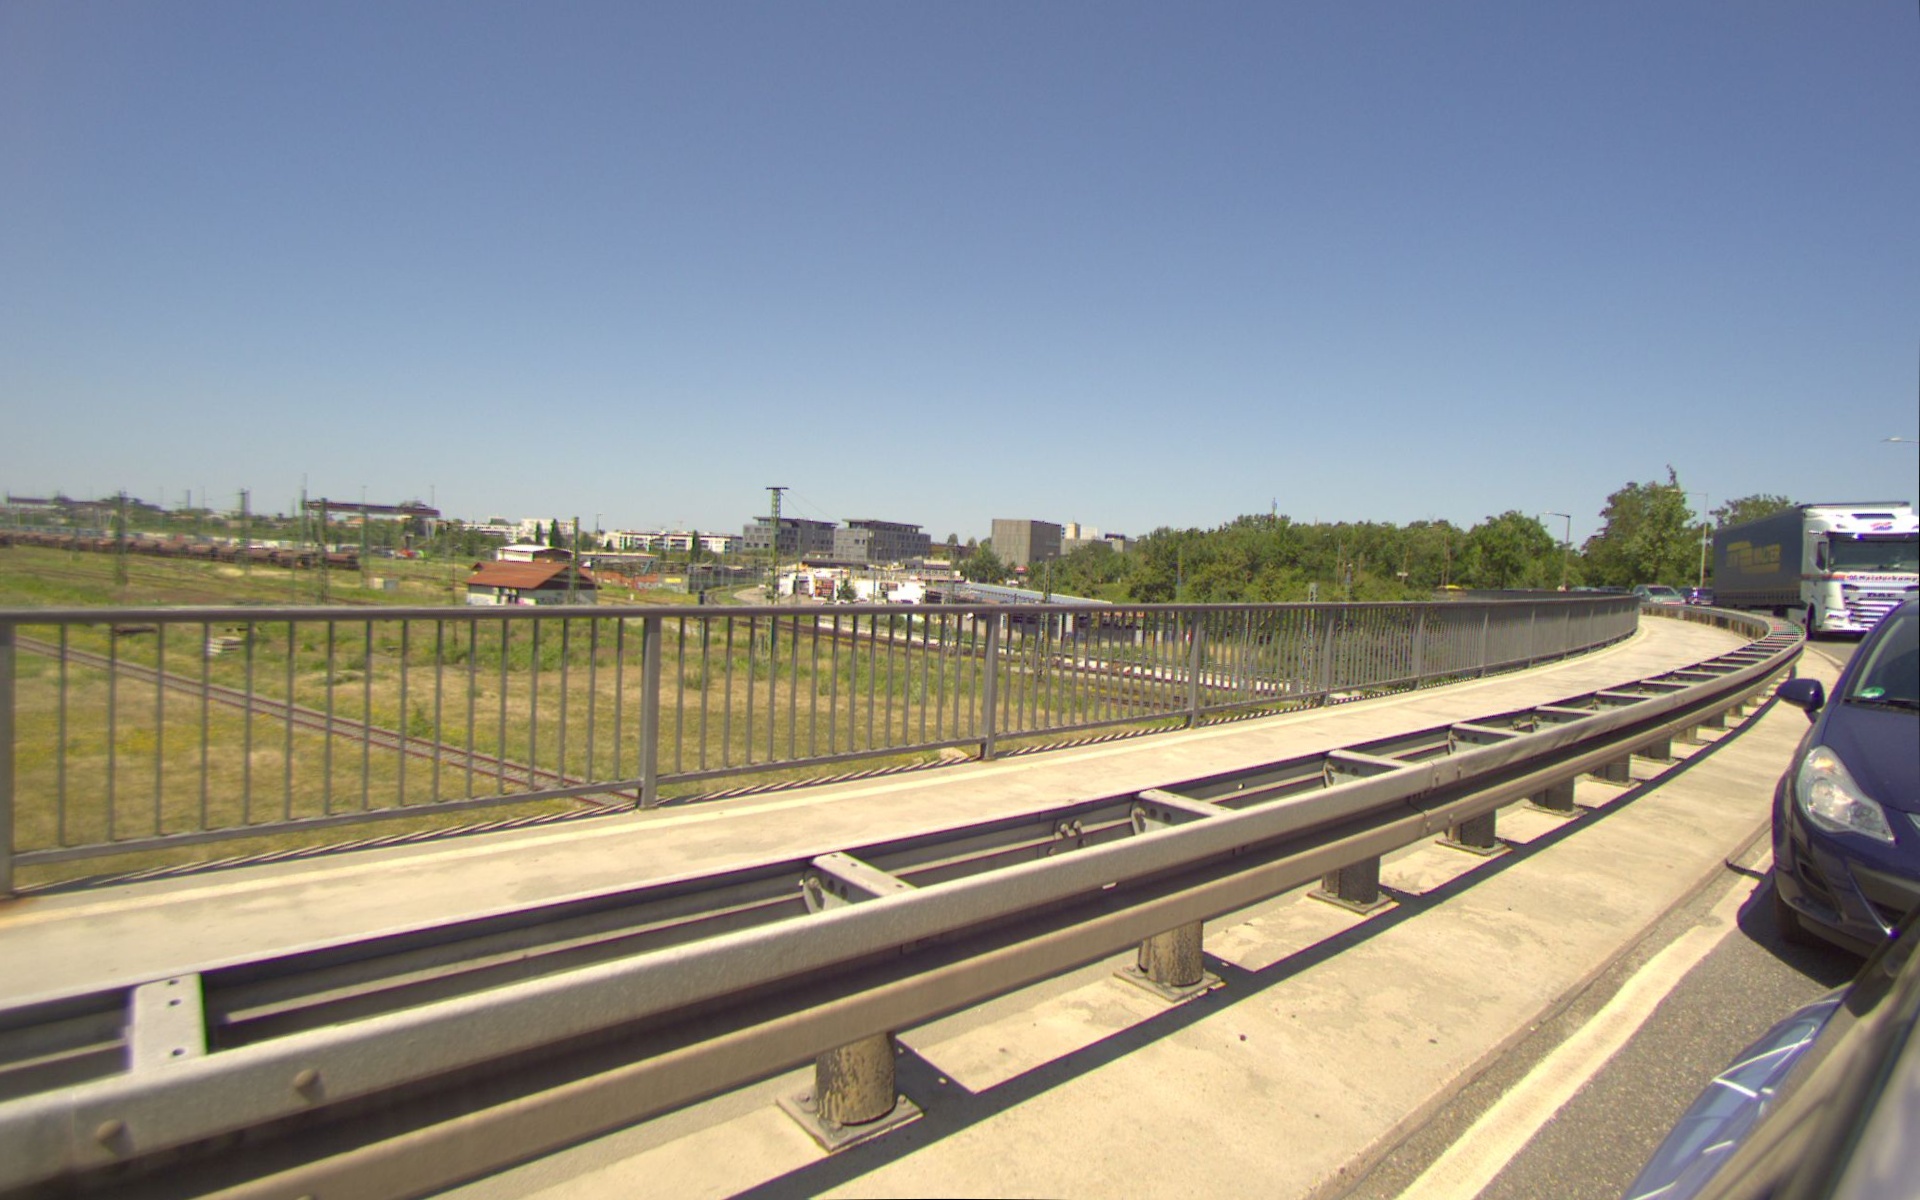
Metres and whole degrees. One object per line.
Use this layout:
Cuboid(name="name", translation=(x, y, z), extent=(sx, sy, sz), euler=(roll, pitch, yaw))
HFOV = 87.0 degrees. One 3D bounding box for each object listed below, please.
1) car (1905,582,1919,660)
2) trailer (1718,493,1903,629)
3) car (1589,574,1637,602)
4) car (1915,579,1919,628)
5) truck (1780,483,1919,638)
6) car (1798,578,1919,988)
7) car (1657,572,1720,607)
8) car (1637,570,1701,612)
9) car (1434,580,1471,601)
Cuboid(name="car", translation=(18.501, 0.399, 18.141), extent=(1.785, 1.473, 4.463), euler=(0, 0, 37))
Cuboid(name="trailer", translation=(31.435, -1.377, 38.085), extent=(2.677, 4.287, 12.592), euler=(0, 1, 28))
Cuboid(name="car", translation=(49.290, -0.872, 76.445), extent=(1.972, 2.039, 3.980), euler=(0, 0, 16))
Cuboid(name="car", translation=(33.147, 0.153, 33.055), extent=(1.958, 1.694, 4.560), euler=(2, 2, 32))
Cuboid(name="truck", translation=(27.713, -1.163, 31.121), extent=(2.673, 4.281, 6.771), euler=(0, 1, 29))
Cuboid(name="car", translation=(5.138, 0.638, 4.651), extent=(1.641, 1.457, 3.936), euler=(1, 1, 45))
Cuboid(name="car", translation=(44.682, -0.618, 62.152), extent=(1.973, 2.039, 3.977), euler=(0, 0, 18))
Cuboid(name="car", translation=(39.894, -0.444, 57.061), extent=(1.977, 2.040, 3.968), euler=(-3, -4, 22))
Cuboid(name="car", translation=(49.030, -0.951, 100.752), extent=(1.965, 2.038, 3.995), euler=(1, 1, 5))
